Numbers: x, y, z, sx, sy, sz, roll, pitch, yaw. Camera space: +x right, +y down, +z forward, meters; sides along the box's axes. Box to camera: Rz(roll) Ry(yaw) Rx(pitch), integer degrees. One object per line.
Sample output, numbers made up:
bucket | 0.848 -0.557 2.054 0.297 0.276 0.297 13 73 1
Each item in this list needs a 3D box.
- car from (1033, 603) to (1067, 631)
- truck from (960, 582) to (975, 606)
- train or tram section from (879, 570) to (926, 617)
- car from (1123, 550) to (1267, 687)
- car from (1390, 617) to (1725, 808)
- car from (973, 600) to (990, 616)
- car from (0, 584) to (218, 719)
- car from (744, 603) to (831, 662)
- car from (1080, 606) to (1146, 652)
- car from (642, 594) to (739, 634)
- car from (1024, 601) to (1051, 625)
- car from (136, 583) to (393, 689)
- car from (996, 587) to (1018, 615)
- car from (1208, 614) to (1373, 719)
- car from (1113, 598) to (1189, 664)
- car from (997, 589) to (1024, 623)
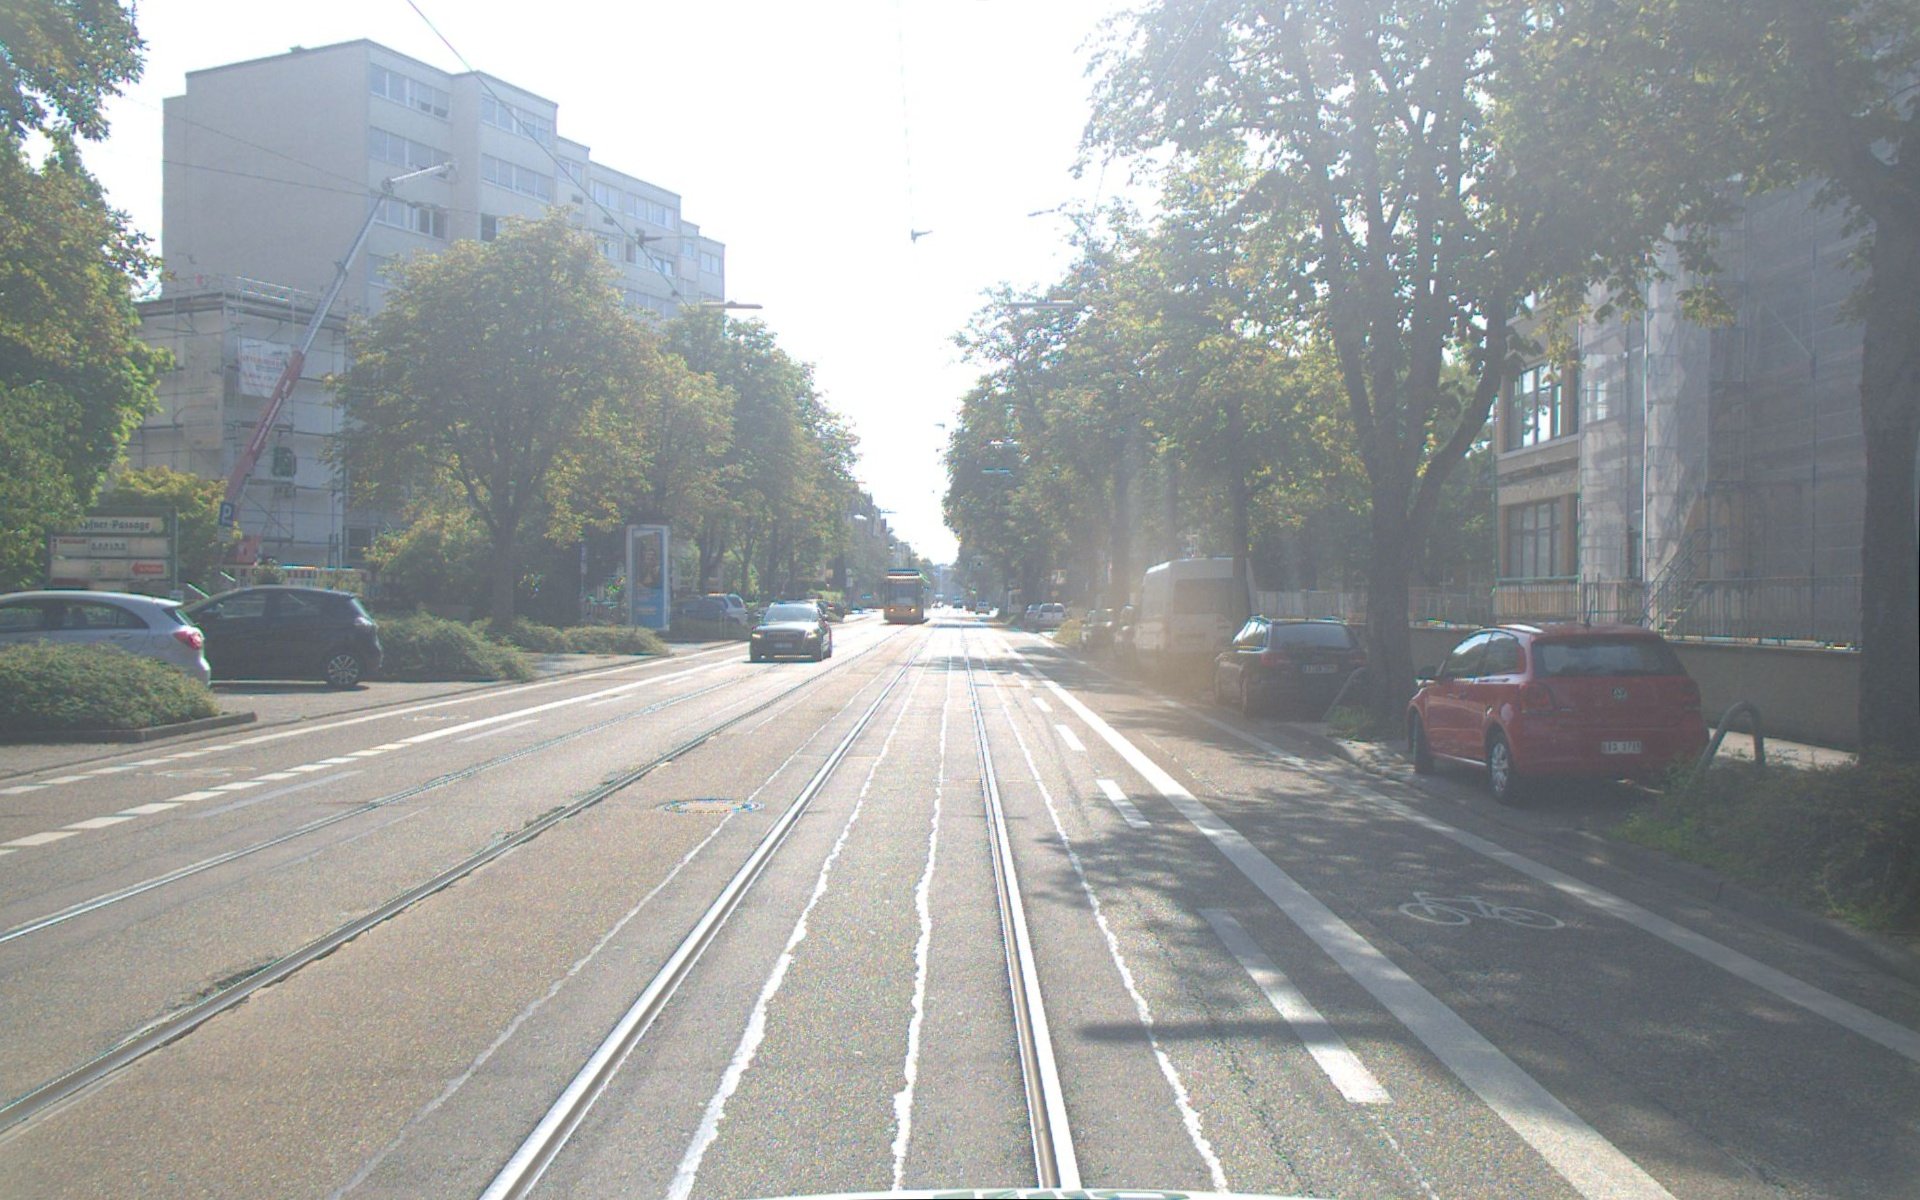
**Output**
car | 4.780 0.878 87.882 1.655 1.443 3.634 1 0 1
truck | 0.967 -0.752 218.397 1.823 3.185 4.350 1 0 -2
train or tram section | -3.799 -0.365 112.560 2.673 2.945 15.453 0 0 0
car | 4.912 0.367 35.387 2.040 2.597 5.500 -3 0 -2
car | 5.166 0.892 14.860 1.583 1.438 4.000 0 0 0
car | 2.628 0.945 201.571 1.952 1.870 4.000 1 0 1
car | -10.970 0.578 19.453 3.944 1.505 1.771 1 0 -30
car | -4.353 0.794 42.257 1.791 1.400 4.512 1 0 -1
car | 4.966 0.921 54.263 1.717 1.402 4.718 -1 0 0
car | -11.331 0.586 69.664 1.715 1.650 3.768 0 0 45
car | 4.761 0.807 101.694 1.562 1.443 3.634 1 0 1
car | -10.937 0.562 26.091 3.588 1.542 1.609 2 0 -26
car | 4.461 0.093 156.405 1.963 2.518 4.477 1 0 1
car | 4.893 0.931 25.116 1.583 1.398 4.827 0 0 1
car | 5.121 0.802 44.792 1.630 1.645 3.877 -1 0 0
car | 3.911 0.515 129.600 1.963 2.534 4.477 2 -1 1
